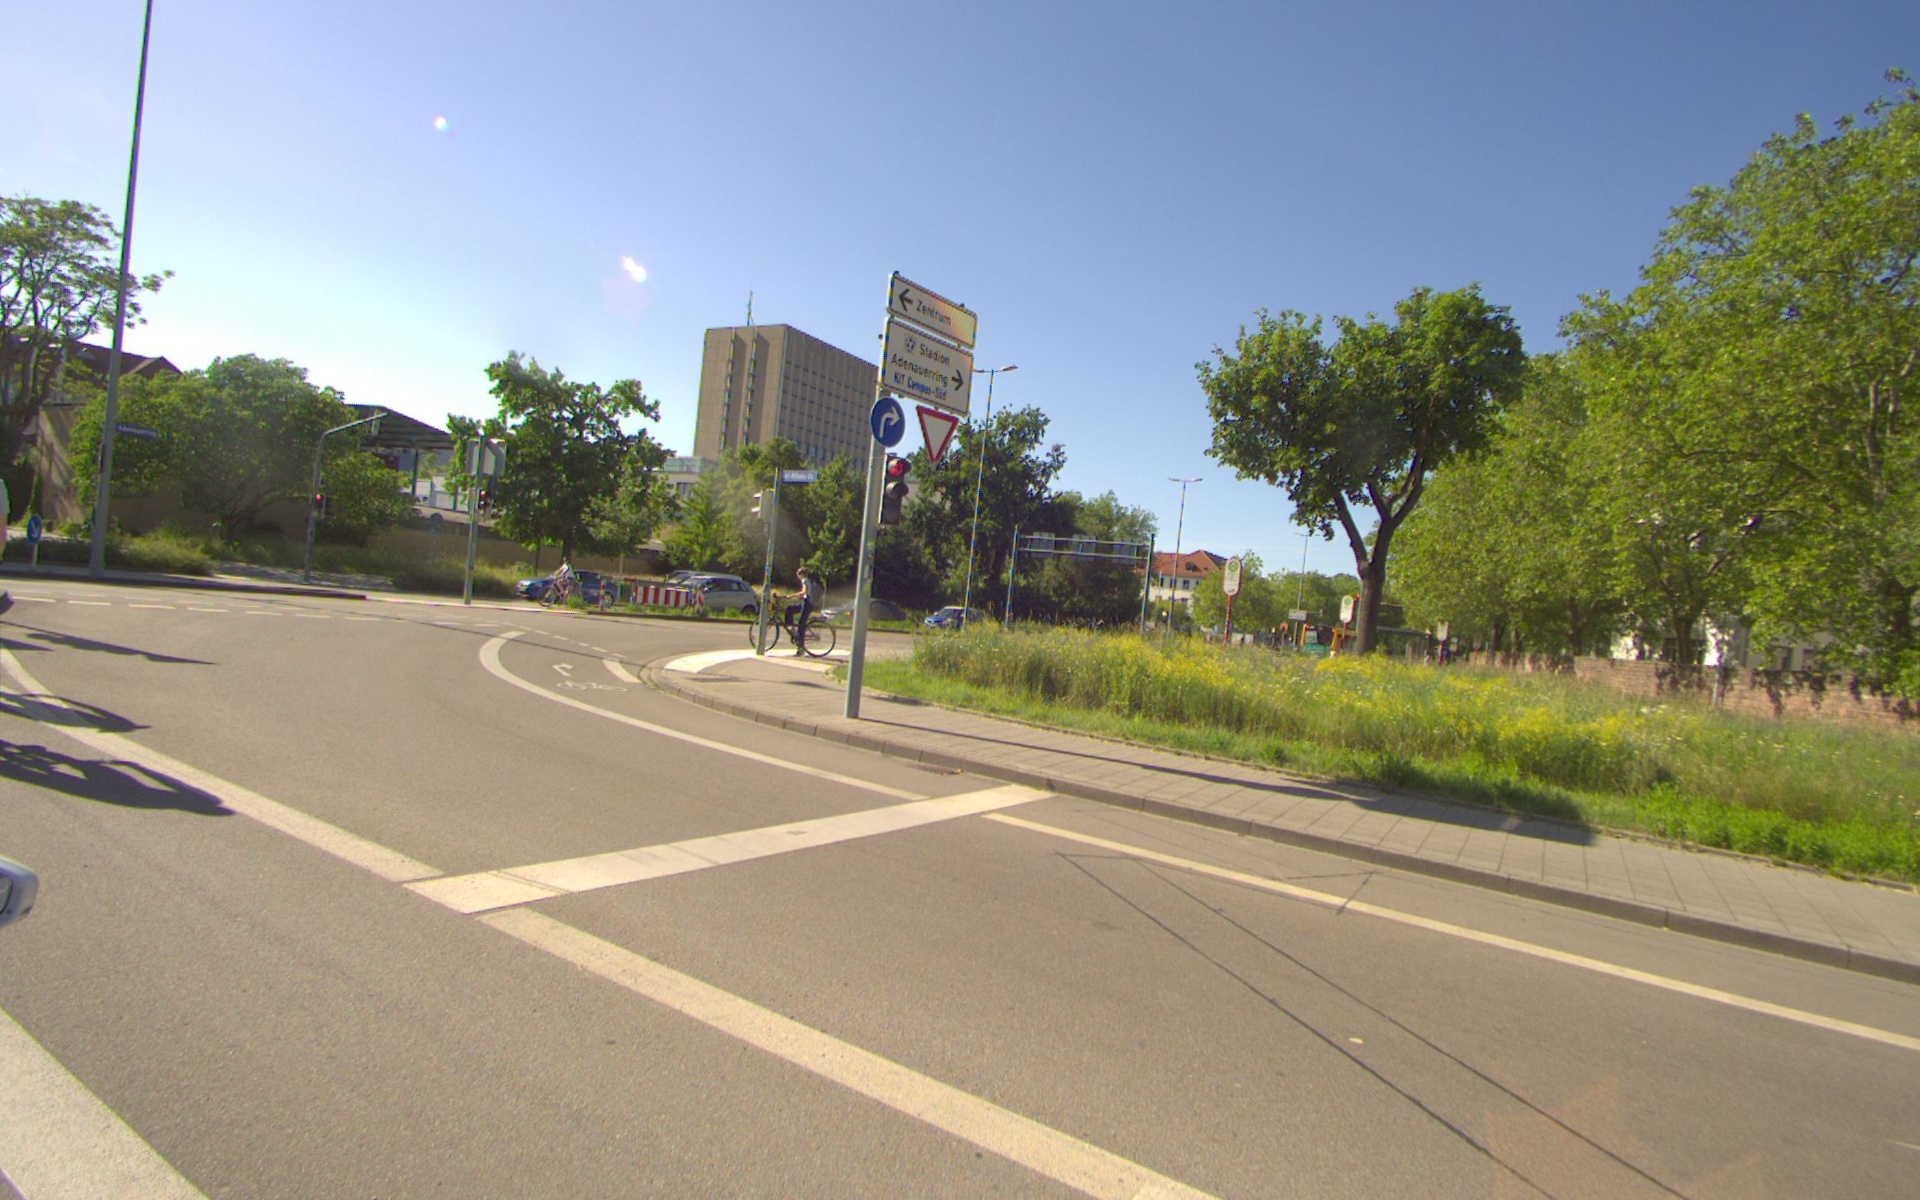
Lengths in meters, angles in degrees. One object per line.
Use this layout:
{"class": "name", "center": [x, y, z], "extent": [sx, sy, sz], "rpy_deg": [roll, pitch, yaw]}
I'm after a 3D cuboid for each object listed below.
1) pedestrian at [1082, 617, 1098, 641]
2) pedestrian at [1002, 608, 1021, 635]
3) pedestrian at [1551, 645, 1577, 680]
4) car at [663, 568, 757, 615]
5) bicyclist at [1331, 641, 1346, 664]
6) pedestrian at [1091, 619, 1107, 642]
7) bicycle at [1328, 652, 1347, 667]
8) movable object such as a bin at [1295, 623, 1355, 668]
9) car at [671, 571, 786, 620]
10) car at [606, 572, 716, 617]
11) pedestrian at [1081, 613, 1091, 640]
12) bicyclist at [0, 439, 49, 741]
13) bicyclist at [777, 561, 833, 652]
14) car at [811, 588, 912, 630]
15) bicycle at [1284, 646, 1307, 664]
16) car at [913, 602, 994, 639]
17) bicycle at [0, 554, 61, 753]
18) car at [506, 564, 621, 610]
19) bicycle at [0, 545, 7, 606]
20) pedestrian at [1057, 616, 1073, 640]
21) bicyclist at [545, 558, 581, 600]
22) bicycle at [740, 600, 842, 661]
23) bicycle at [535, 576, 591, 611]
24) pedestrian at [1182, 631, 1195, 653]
{"class": "pedestrian", "center": [11.785, 2.669, 91.075], "extent": [0.752, 2.039, 1.267], "rpy_deg": [7, 1, 36]}
{"class": "pedestrian", "center": [4.262, 1.790, 83.421], "extent": [0.752, 2.039, 1.267], "rpy_deg": [7, 1, 36]}
{"class": "pedestrian", "center": [27.321, 2.817, 45.512], "extent": [0.712, 1.460, 0.523], "rpy_deg": [7, -1, 2]}
{"class": "car", "center": [-11.842, -0.365, 47.787], "extent": [1.767, 1.771, 3.986], "rpy_deg": [7, 0, 37]}
{"class": "bicyclist", "center": [26.053, 3.631, 69.220], "extent": [0.509, 1.548, 1.067], "rpy_deg": [7, 2, 39]}
{"class": "pedestrian", "center": [12.932, 2.837, 93.620], "extent": [0.752, 2.039, 1.267], "rpy_deg": [7, 1, 36]}
{"class": "bicycle", "center": [25.962, 4.099, 69.187], "extent": [0.514, 1.000, 1.965], "rpy_deg": [7, 1, 39]}
{"class": "movable object such as a bin", "center": [28.001, 3.532, 76.905], "extent": [2.954, 2.898, 9.178], "rpy_deg": [6, 0, 27]}
{"class": "car", "center": [-8.738, -0.129, 38.280], "extent": [1.767, 1.415, 3.986], "rpy_deg": [7, 0, 37]}
{"class": "car", "center": [-12.298, -0.199, 41.561], "extent": [1.767, 1.415, 3.986], "rpy_deg": [7, 0, 37]}
{"class": "pedestrian", "center": [11.814, 2.522, 94.266], "extent": [0.401, 2.451, 0.467], "rpy_deg": [6, -1, 34]}
{"class": "bicyclist", "center": [-6.336, -0.118, 6.168], "extent": [1.123, 1.813, 0.684], "rpy_deg": [7, 0, 32]}
{"class": "bicyclist", "center": [-3.034, 0.125, 19.697], "extent": [0.898, 1.667, 0.630], "rpy_deg": [6, 1, -9]}
{"class": "car", "center": [-4.308, 0.437, 44.621], "extent": [1.767, 1.415, 4.557], "rpy_deg": [7, 0, 37]}
{"class": "bicycle", "center": [20.567, 3.370, 61.646], "extent": [0.640, 0.986, 1.895], "rpy_deg": [7, 1, 39]}
{"class": "car", "center": [-0.294, 1.052, 50.449], "extent": [1.916, 1.415, 3.986], "rpy_deg": [6, 0, 37]}
{"class": "bicycle", "center": [-6.342, 0.231, 6.141], "extent": [1.890, 1.102, 0.690], "rpy_deg": [6, -1, 32]}
{"class": "car", "center": [-16.209, -0.524, 41.309], "extent": [1.767, 1.415, 3.986], "rpy_deg": [7, 0, 37]}
{"class": "bicycle", "center": [-8.180, 0.024, 7.742], "extent": [1.890, 1.102, 0.690], "rpy_deg": [6, -1, 32]}
{"class": "pedestrian", "center": [9.446, 2.509, 90.488], "extent": [0.752, 2.039, 1.267], "rpy_deg": [7, 1, 36]}
{"class": "bicyclist", "center": [-13.933, -0.722, 35.273], "extent": [0.602, 1.360, 0.874], "rpy_deg": [7, 1, 37]}
{"class": "bicycle", "center": [-3.288, 0.592, 19.669], "extent": [1.856, 0.970, 0.635], "rpy_deg": [7, 1, -10]}
{"class": "bicycle", "center": [-13.935, -0.226, 35.350], "extent": [0.602, 1.046, 1.681], "rpy_deg": [7, 0, 37]}
{"class": "pedestrian", "center": [25.675, 4.706, 112.869], "extent": [0.935, 2.318, 1.092], "rpy_deg": [7, -1, 24]}
